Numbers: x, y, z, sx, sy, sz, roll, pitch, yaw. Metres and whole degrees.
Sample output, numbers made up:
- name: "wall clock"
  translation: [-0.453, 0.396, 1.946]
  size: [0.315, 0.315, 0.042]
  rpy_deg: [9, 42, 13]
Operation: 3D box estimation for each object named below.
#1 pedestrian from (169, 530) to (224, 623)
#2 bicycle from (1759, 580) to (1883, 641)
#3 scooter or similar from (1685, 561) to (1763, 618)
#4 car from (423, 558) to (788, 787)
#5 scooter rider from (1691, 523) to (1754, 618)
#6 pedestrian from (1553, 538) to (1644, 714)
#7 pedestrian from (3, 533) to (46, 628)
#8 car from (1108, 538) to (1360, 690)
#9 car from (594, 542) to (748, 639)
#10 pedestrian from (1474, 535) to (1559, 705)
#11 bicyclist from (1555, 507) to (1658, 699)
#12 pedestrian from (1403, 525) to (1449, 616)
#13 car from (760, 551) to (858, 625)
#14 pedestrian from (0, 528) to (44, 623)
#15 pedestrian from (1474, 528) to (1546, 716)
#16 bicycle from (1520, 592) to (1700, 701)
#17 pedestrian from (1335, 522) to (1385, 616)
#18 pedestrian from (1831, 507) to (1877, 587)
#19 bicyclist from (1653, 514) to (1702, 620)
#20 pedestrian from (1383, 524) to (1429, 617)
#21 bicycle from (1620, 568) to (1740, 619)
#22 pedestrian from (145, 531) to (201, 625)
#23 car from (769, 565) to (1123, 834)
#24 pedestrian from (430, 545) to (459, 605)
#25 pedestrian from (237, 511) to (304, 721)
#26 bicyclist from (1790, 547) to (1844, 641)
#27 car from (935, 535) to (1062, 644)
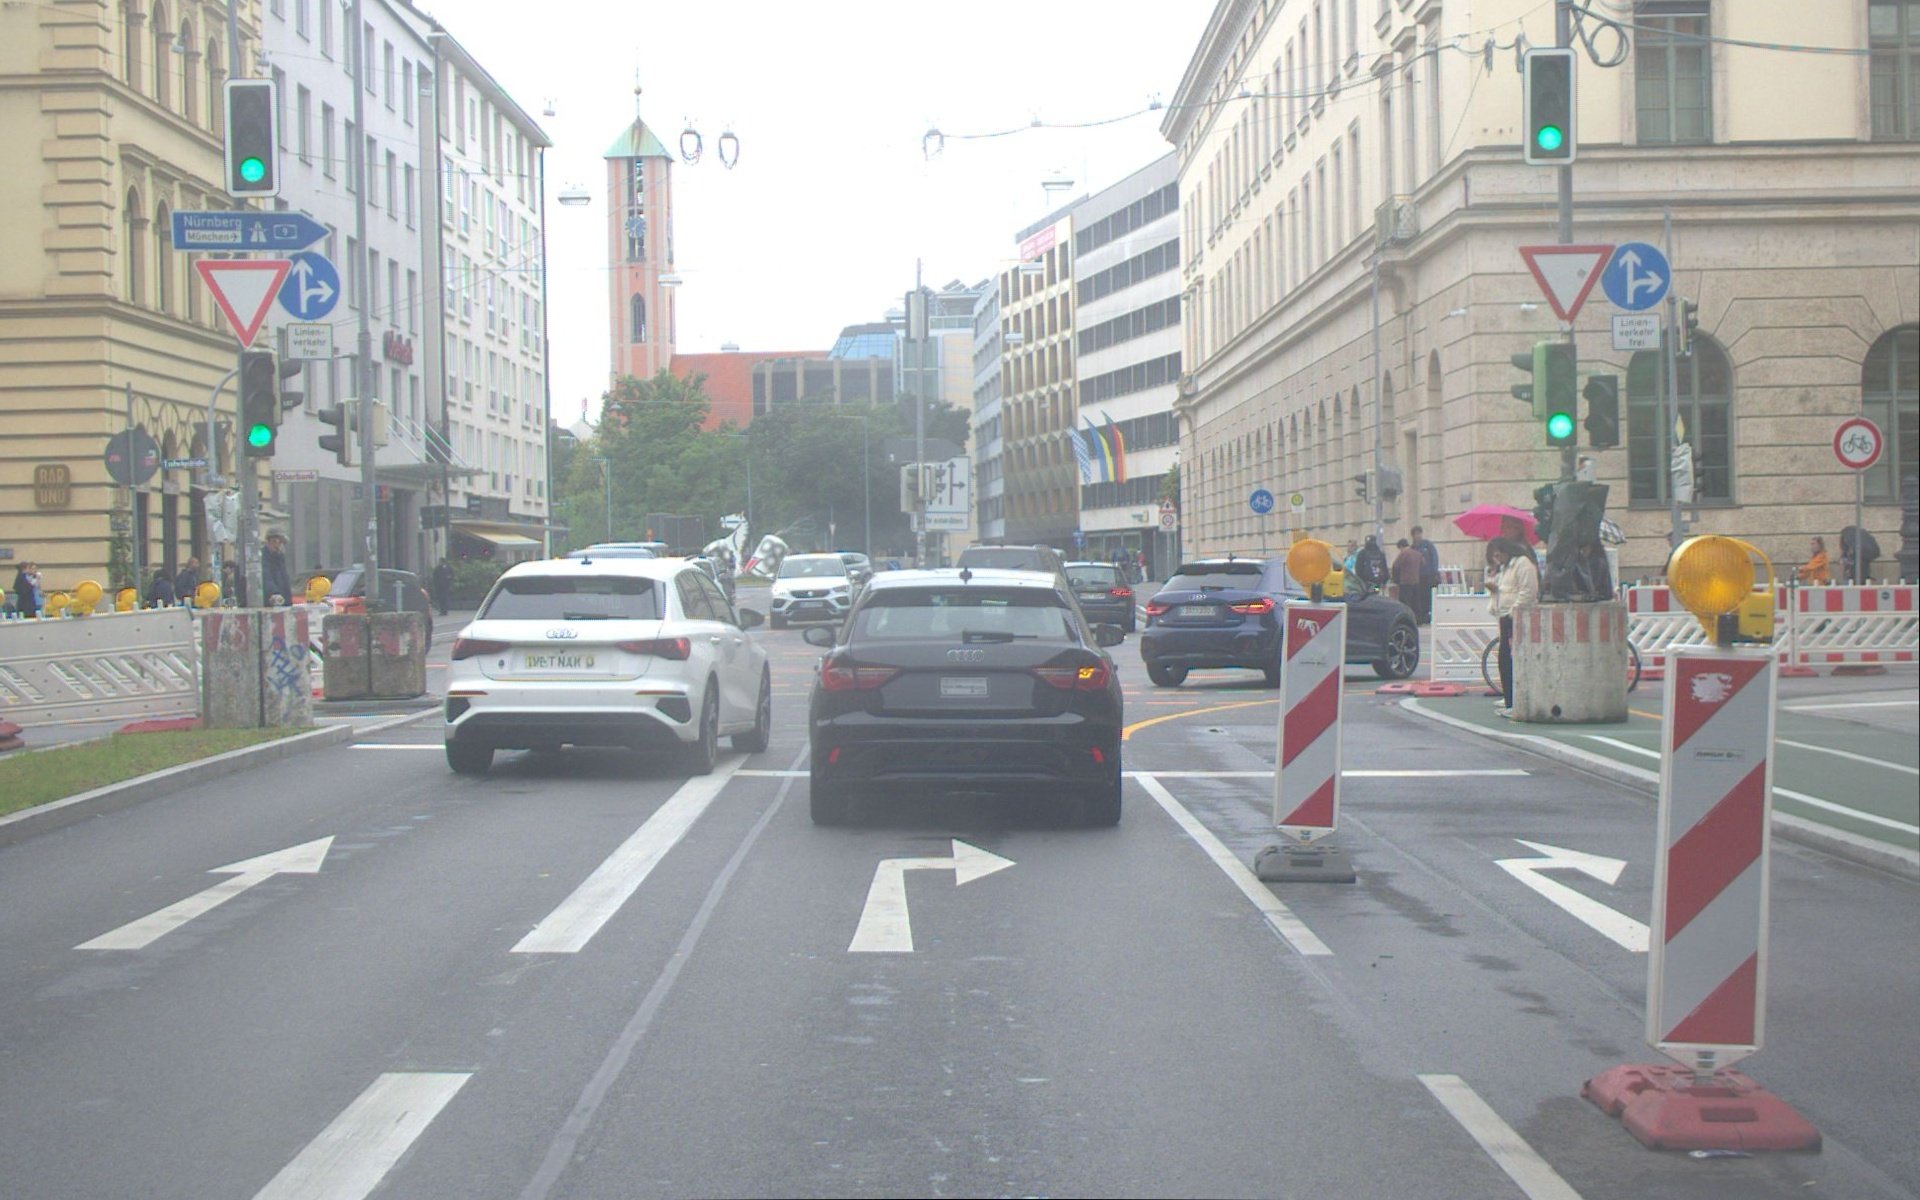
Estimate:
- name: "pedestrian"
  translation: [-14.598, -0.463, 65.754]
  size: [0.734, 1.766, 0.738]
  rpy_deg: [1, 1, 21]
- name: "bicycle"
  translation: [14.995, 0.177, 59.910]
  size: [1.958, 1.037, 0.795]
  rpy_deg: [0, 1, 3]
- name: "scooter or similar"
  translation: [13.070, -0.180, 58.842]
  size: [1.211, 0.961, 0.588]
  rpy_deg: [0, 1, 1]
- name: "car"
  translation: [-2.377, 0.433, 24.169]
  size: [1.813, 1.420, 4.452]
  rpy_deg: [1, 1, 4]
- name: "scooter rider"
  translation: [13.048, -0.507, 58.838]
  size: [0.932, 1.617, 0.592]
  rpy_deg: [0, 1, 1]
- name: "pedestrian"
  translation: [5.721, 0.224, 30.833]
  size: [0.702, 1.562, 0.682]
  rpy_deg: [0, 1, 2]
- name: "pedestrian"
  translation: [-17.623, -0.373, 64.775]
  size: [0.733, 1.766, 0.739]
  rpy_deg: [0, 1, -10]
- name: "car"
  translation: [3.146, 0.111, 38.814]
  size: [1.771, 1.611, 3.996]
  rpy_deg: [1, 1, 21]
- name: "car"
  translation: [-5.292, -0.202, 63.389]
  size: [1.794, 1.672, 4.231]
  rpy_deg: [-1, 1, 10]
- name: "pedestrian"
  translation: [5.162, 0.181, 31.939]
  size: [0.702, 1.562, 0.584]
  rpy_deg: [0, 1, 2]
- name: "bicyclist"
  translation: [6.301, 0.024, 33.530]
  size: [0.798, 1.847, 0.566]
  rpy_deg: [1, 1, 42]
- name: "pedestrian"
  translation: [8.967, -0.576, 66.172]
  size: [0.584, 1.749, 0.818]
  rpy_deg: [1, 1, 31]
- name: "car"
  translation: [-3.267, -0.281, 75.201]
  size: [1.993, 1.519, 4.233]
  rpy_deg: [-1, 1, -1]
- name: "pedestrian"
  translation: [-17.472, -0.456, 64.032]
  size: [0.733, 1.766, 0.739]
  rpy_deg: [0, 1, -10]
- name: "pedestrian"
  translation: [4.790, 0.183, 29.957]
  size: [0.531, 1.614, 0.674]
  rpy_deg: [0, 1, 2]
- name: "bicycle"
  translation: [6.327, 0.441, 33.511]
  size: [1.655, 1.008, 0.585]
  rpy_deg: [1, 1, 42]
- name: "pedestrian"
  translation: [7.575, -0.591, 65.093]
  size: [0.818, 1.749, 0.679]
  rpy_deg: [0, 1, 16]
- name: "pedestrian"
  translation: [17.083, -1.009, 65.706]
  size: [0.665, 1.522, 0.820]
  rpy_deg: [0, 1, -1]
- name: "bicyclist"
  translation: [12.552, -0.576, 60.151]
  size: [0.744, 1.836, 0.660]
  rpy_deg: [0, 1, 3]
- name: "pedestrian"
  translation: [8.490, -0.571, 65.410]
  size: [0.584, 1.749, 0.818]
  rpy_deg: [1, 1, 31]
- name: "bicycle"
  translation: [12.587, -0.122, 60.155]
  size: [1.972, 0.876, 0.661]
  rpy_deg: [0, 1, 3]
- name: "pedestrian"
  translation: [-14.881, -0.418, 65.031]
  size: [0.734, 1.766, 0.760]
  rpy_deg: [1, 1, 21]
- name: "car"
  translation: [-0.092, 0.502, 20.097]
  size: [1.863, 1.383, 4.000]
  rpy_deg: [0, 1, -1]
- name: "pedestrian"
  translation: [-15.187, -0.747, 101.304]
  size: [0.737, 1.766, 0.736]
  rpy_deg: [0, 1, -1]
- name: "pedestrian"
  translation: [-5.853, 0.125, 29.201]
  size: [0.512, 1.737, 1.043]
  rpy_deg: [-1, 1, -10]
- name: "bicyclist"
  translation: [14.931, -0.109, 59.905]
  size: [0.744, 1.609, 0.795]
  rpy_deg: [0, 1, 3]
- name: "car"
  translation: [0.562, -0.191, 53.648]
  size: [1.865, 1.596, 3.851]
  rpy_deg: [-1, 1, -1]
